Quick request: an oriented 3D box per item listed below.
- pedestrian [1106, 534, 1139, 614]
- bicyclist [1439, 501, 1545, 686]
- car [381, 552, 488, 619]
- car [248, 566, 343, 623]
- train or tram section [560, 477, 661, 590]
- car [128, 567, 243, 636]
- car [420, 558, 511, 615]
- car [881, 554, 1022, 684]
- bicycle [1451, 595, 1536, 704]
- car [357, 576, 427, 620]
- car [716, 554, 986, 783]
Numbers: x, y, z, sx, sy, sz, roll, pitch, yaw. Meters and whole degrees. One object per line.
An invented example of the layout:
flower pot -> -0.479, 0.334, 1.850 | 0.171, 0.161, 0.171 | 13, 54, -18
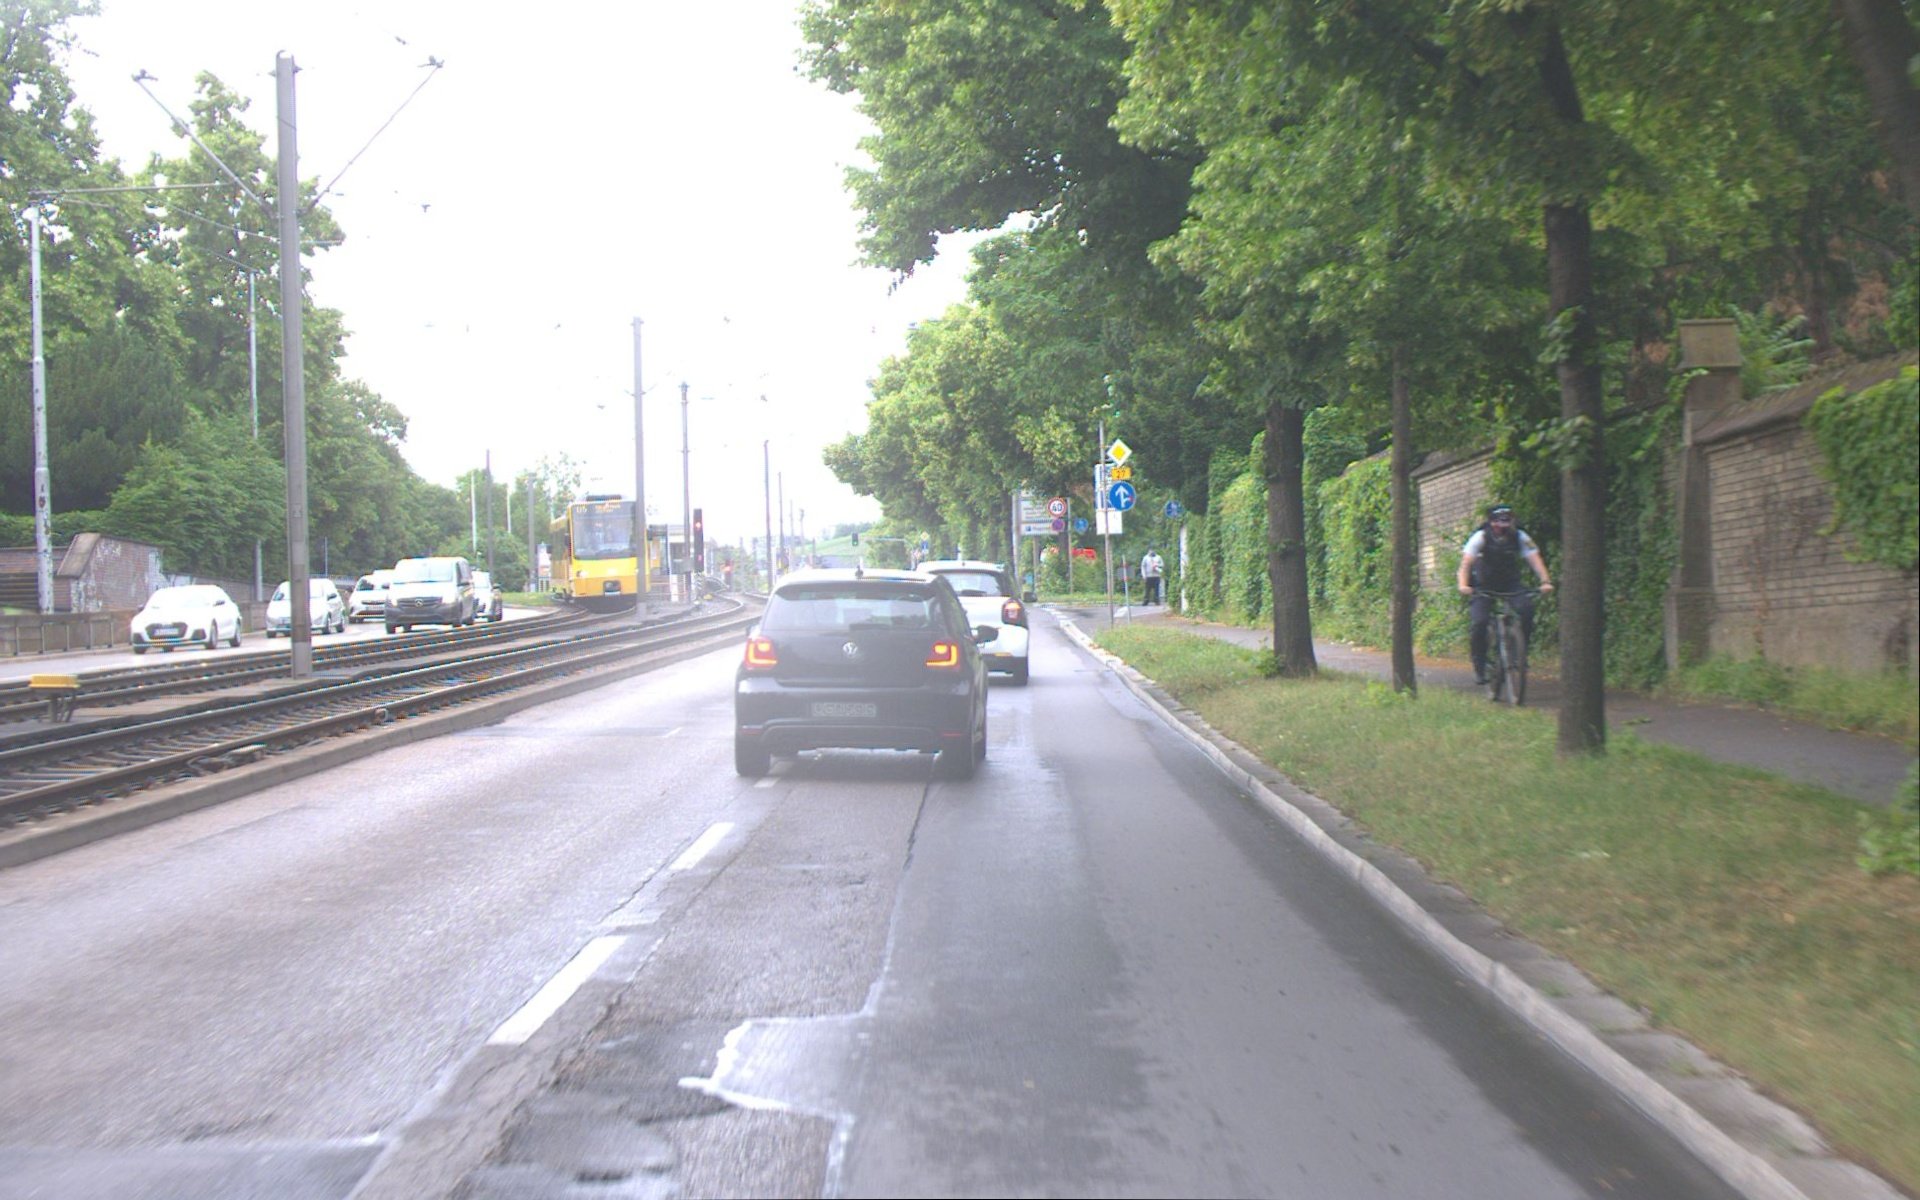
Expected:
pedestrian -> 6.058, -0.973, 128.151 | 1.164, 2.967, 0.948 | 0, 1, 0
bicyclist -> 4.746, -0.068, 30.725 | 0.763, 1.610, 0.999 | -1, 1, 0
car -> -13.524, -0.399, 88.672 | 1.993, 1.656, 5.127 | 0, 1, 0
car -> -17.349, -0.160, 89.896 | 1.728, 1.438, 4.000 | 0, 1, 0
train or tram section -> -11.514, -2.191, 114.006 | 2.832, 3.593, 9.272 | 0, 1, -3
car -> -16.881, 0.010, 75.063 | 1.616, 1.429, 4.000 | 0, 1, 0
car -> -14.162, -0.394, 98.641 | 1.993, 1.571, 4.535 | 0, 1, 0
car -> -0.080, 0.208, 43.504 | 1.676, 1.525, 3.722 | -1, 1, 1
bicycle -> 4.746, 0.424, 30.684 | 0.407, 0.899, 2.099 | -1, 1, 0
car -> -17.491, -0.074, 105.945 | 1.558, 1.334, 3.648 | 0, 0, 0
car -> -0.765, 0.436, 25.012 | 1.794, 1.480, 3.965 | 0, 1, -1
